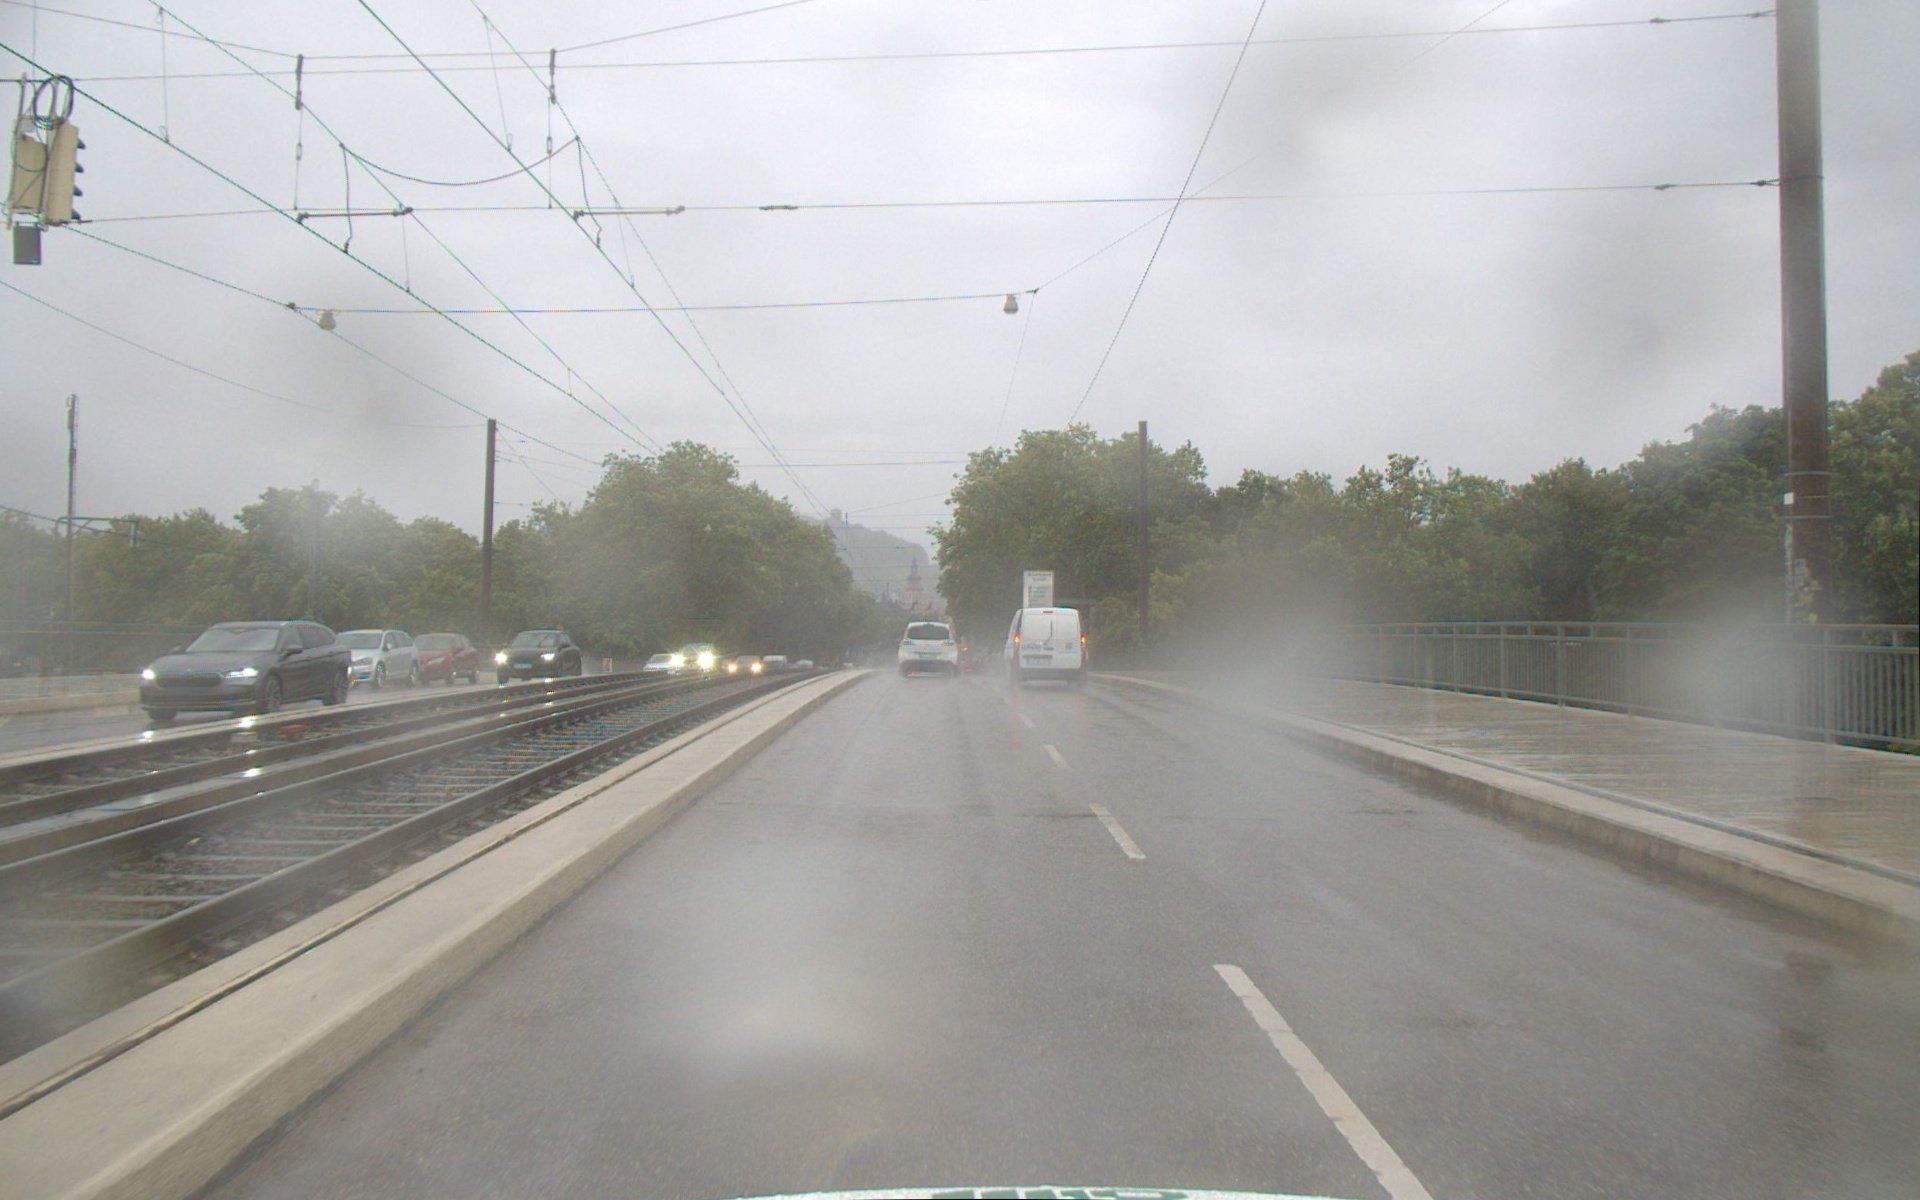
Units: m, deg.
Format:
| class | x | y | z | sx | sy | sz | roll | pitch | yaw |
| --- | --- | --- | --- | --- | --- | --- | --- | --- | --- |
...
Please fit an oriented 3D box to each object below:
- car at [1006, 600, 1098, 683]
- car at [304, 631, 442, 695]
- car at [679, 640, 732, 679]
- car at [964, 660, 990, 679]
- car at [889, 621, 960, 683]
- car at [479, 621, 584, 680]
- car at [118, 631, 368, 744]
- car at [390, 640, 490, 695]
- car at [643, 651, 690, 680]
| class | x | y | z | sx | sy | sz | roll | pitch | yaw |
| --- | --- | --- | --- | --- | --- | --- | --- | --- | --- |
| car | 2.063 | 0.966 | 38.099 | 1.952 | 1.757 | 4.000 | 1 | -2 | 1 |
| car | -14.882 | 1.601 | 42.205 | 1.953 | 1.481 | 4.618 | -2 | -2 | -2 |
| car | -11.677 | 2.739 | 76.053 | 1.781 | 1.683 | 3.999 | 2 | -2 | 0 |
| car | 1.330 | 5.368 | 127.988 | 1.952 | 1.344 | 4.000 | 1 | -2 | 1 |
| car | -1.033 | 1.589 | 50.405 | 1.952 | 1.747 | 4.000 | 1 | -2 | 1 |
| car | -12.032 | 1.431 | 46.698 | 1.953 | 1.536 | 4.090 | -2 | -2 | -2 |
| car | -11.178 | 1.337 | 26.228 | 1.954 | 1.536 | 5.109 | -2 | -2 | -3 |
| car | -14.916 | 1.928 | 47.654 | 1.587 | 1.481 | 4.320 | -2 | -2 | -2 |
| car | -15.657 | 3.487 | 88.311 | 1.826 | 1.481 | 4.317 | -2 | -2 | -2 |
